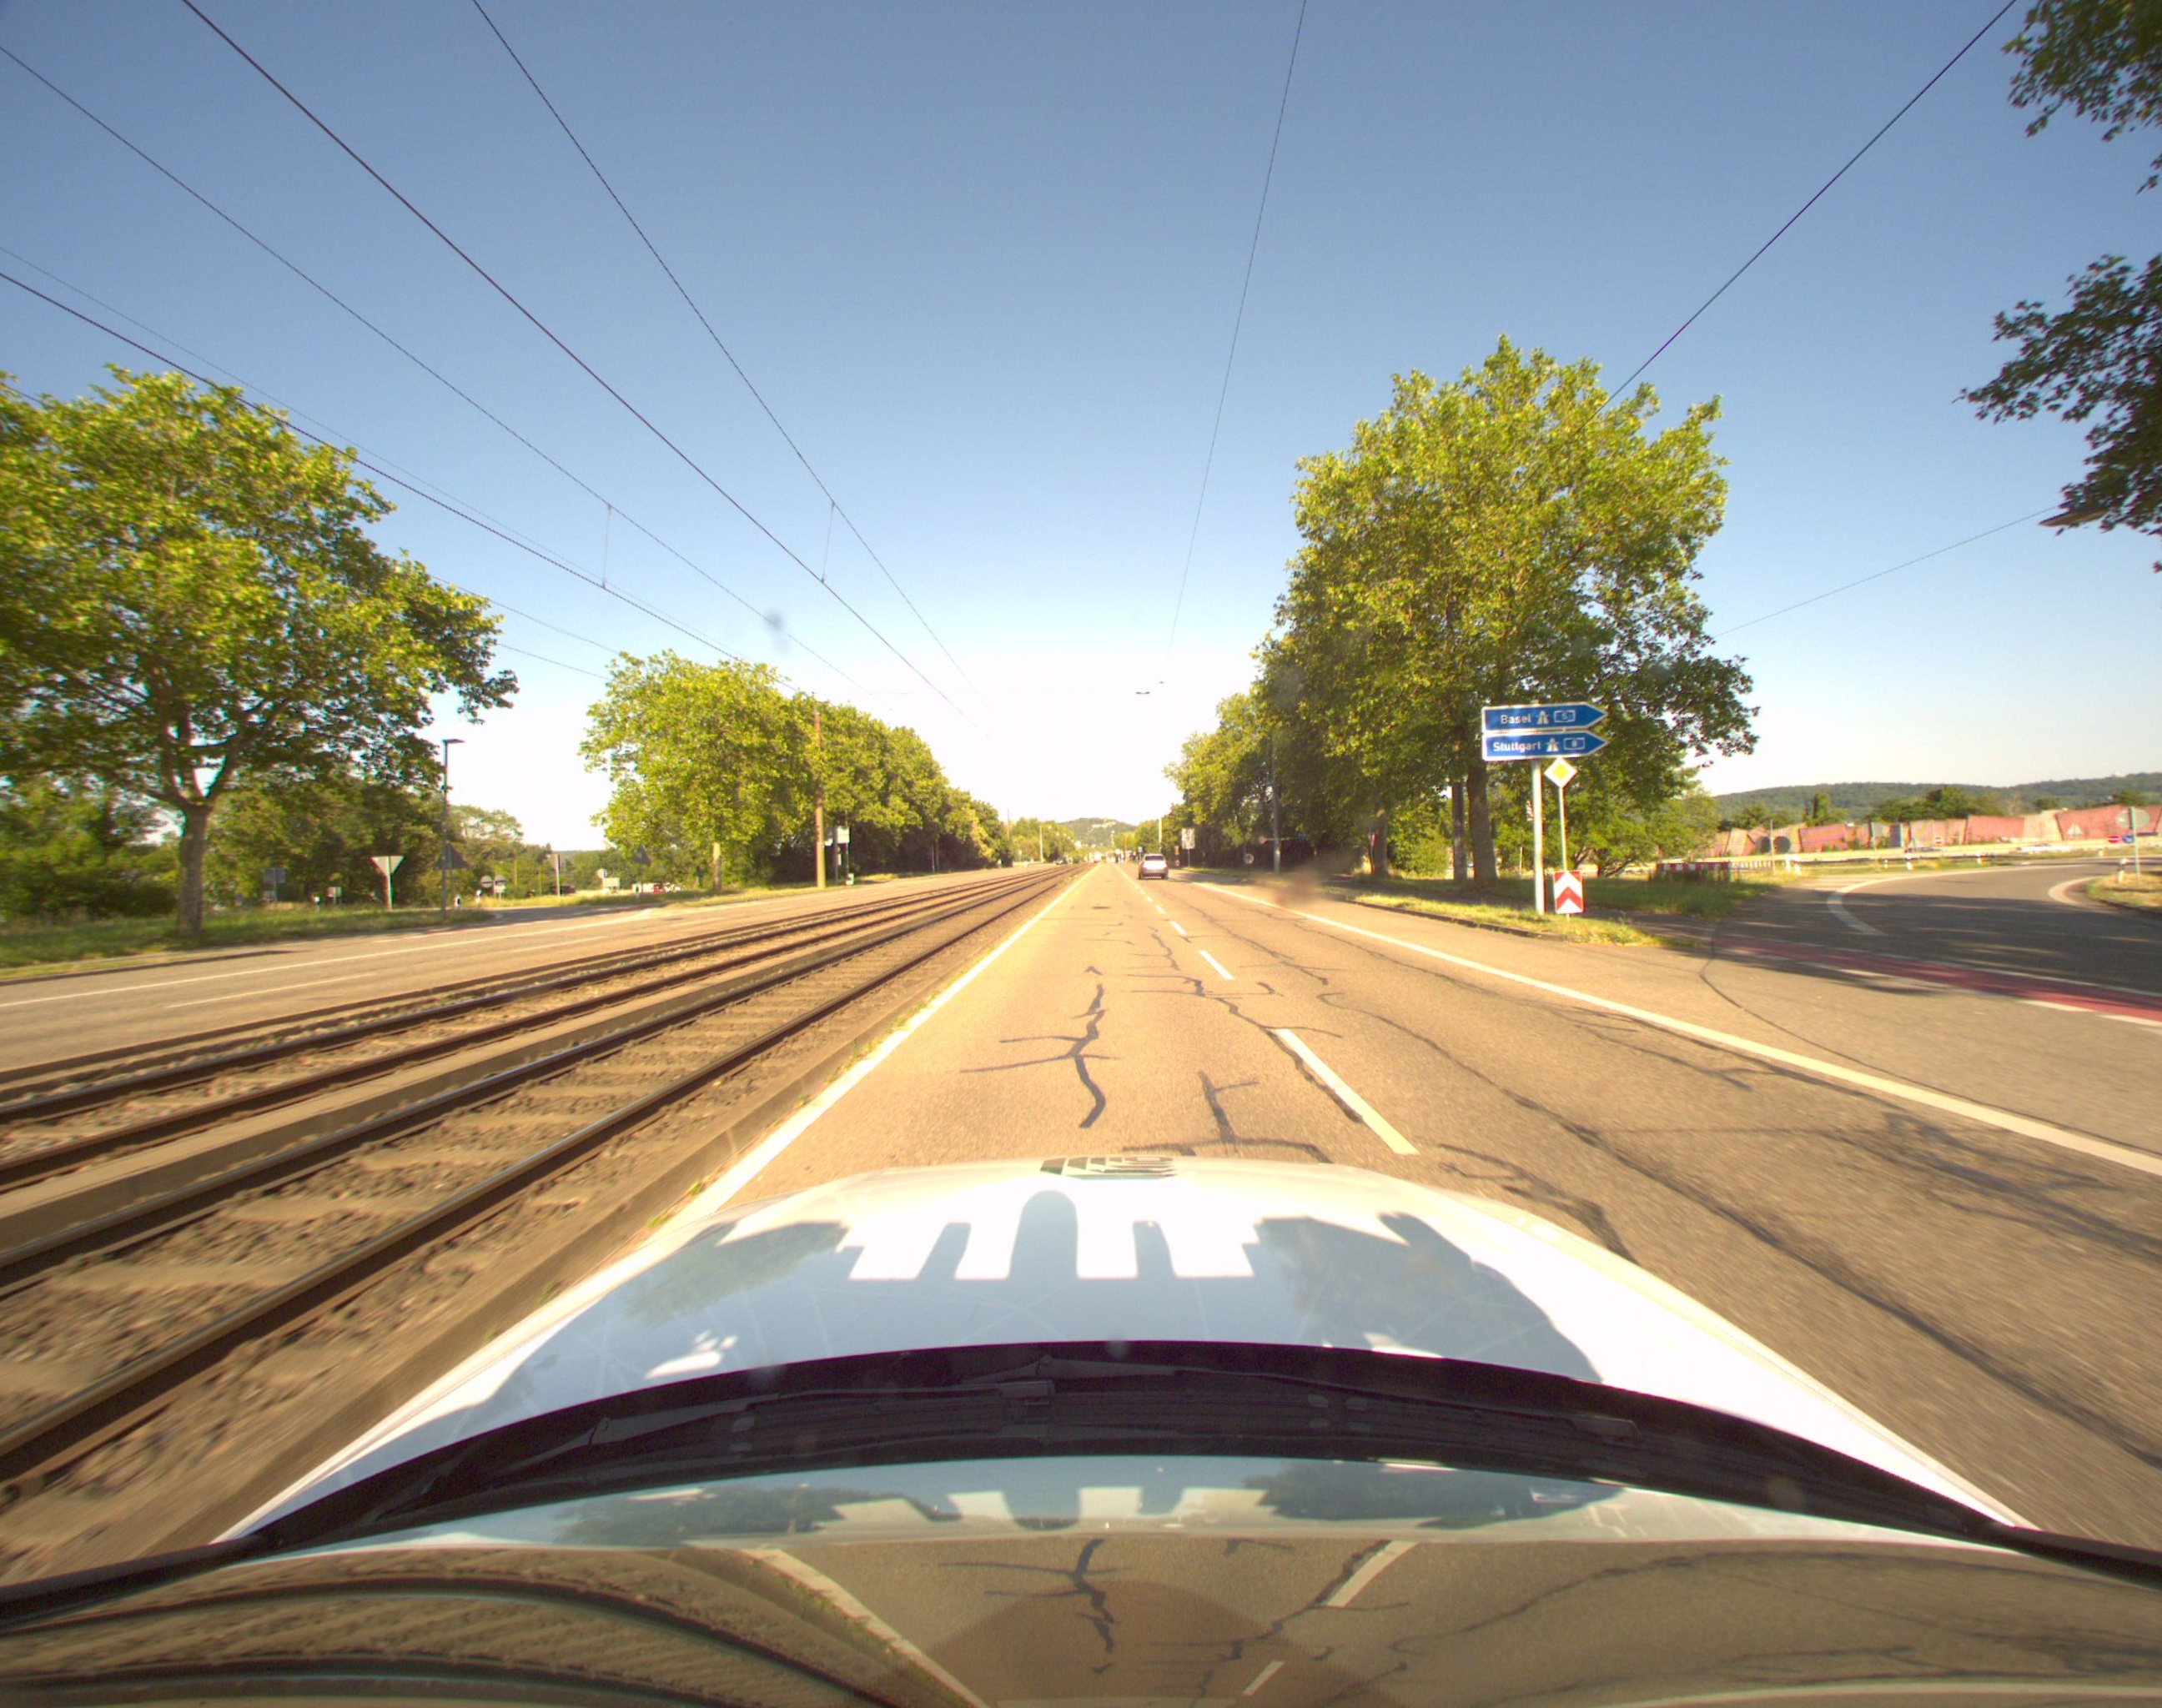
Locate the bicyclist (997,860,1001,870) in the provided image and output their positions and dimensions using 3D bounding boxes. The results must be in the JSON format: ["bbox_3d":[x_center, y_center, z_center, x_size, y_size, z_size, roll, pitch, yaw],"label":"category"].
[{"bbox_3d":[-14.074,1.863,140.268,0.548,1.691,0.821,0,-5,6],"label":"bicyclist"}]

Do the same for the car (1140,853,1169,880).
[{"bbox_3d":[4.925,0.830,54.886,1.880,1.693,4.261,-1,-1,4],"label":"car"}]

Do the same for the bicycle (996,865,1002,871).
[{"bbox_3d":[-14.159,2.409,140.022,0.547,0.986,2.242,0,-5,7],"label":"bicycle"}]
